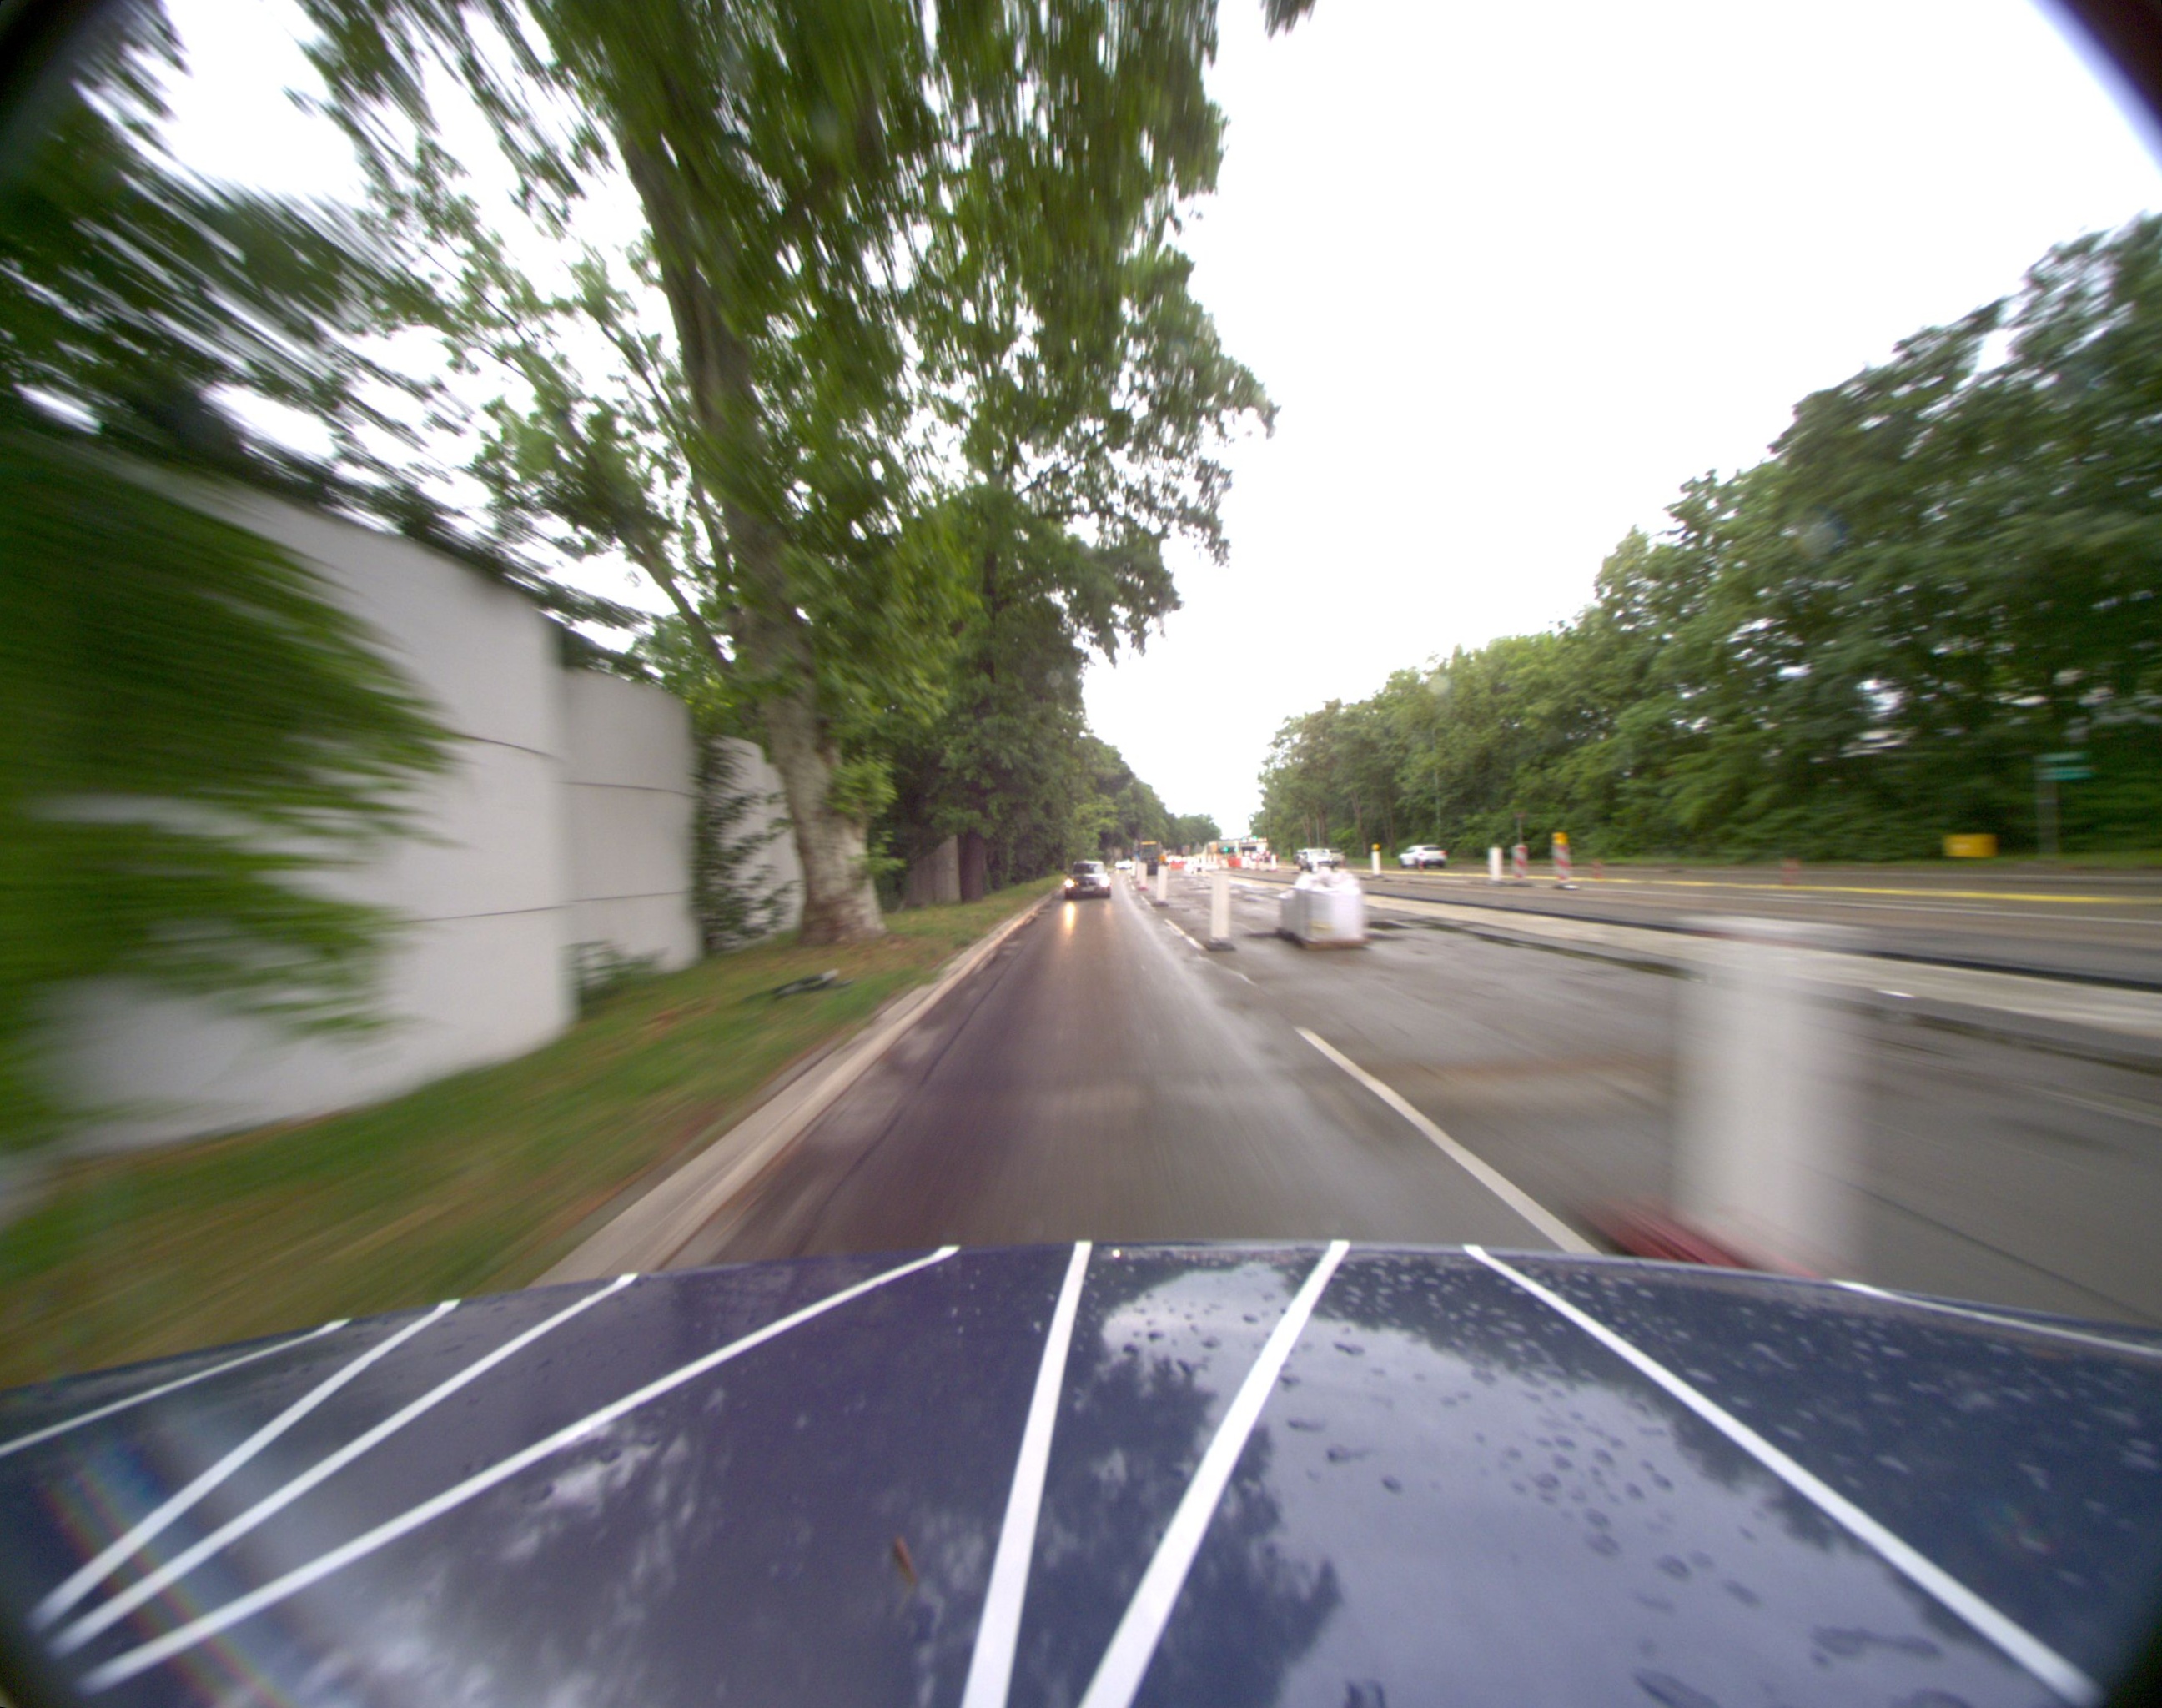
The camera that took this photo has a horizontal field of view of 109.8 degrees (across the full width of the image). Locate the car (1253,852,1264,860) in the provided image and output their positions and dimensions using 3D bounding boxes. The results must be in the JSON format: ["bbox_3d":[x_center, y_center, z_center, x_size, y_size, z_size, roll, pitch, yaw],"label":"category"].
[{"bbox_3d":[33.154,0.315,142.043,1.787,1.418,4.472,-2,0,9],"label":"car"}]

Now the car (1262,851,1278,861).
[{"bbox_3d":[28.547,0.274,114.821,1.787,1.444,4.684,-2,0,8],"label":"car"}]

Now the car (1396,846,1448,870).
[{"bbox_3d":[22.557,0.254,50.400,1.670,1.532,4.158,0,0,1],"label":"car"}]

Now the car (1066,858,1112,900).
[{"bbox_3d":[0.379,0.961,30.625,1.701,1.477,4.000,-2,0,3],"label":"car"}]

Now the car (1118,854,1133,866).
[{"bbox_3d":[6.371,0.862,108.692,1.706,1.681,4.474,-1,0,8],"label":"car"}]

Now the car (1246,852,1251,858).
[{"bbox_3d":[53.178,0.296,241.015,1.677,1.604,3.773,-1,0,12],"label":"car"}]

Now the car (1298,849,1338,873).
[{"bbox_3d":[16.763,0.496,53.902,1.793,1.574,3.862,-3,0,3],"label":"car"}]

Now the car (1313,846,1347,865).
[{"bbox_3d":[24.111,0.126,73.695,1.781,1.740,4.380,-2,0,0],"label":"car"}]

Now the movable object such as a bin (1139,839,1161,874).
[{"bbox_3d":[6.165,0.243,67.942,1.807,2.968,5.247,-2,0,5],"label":"movable object such as a bin"}]
